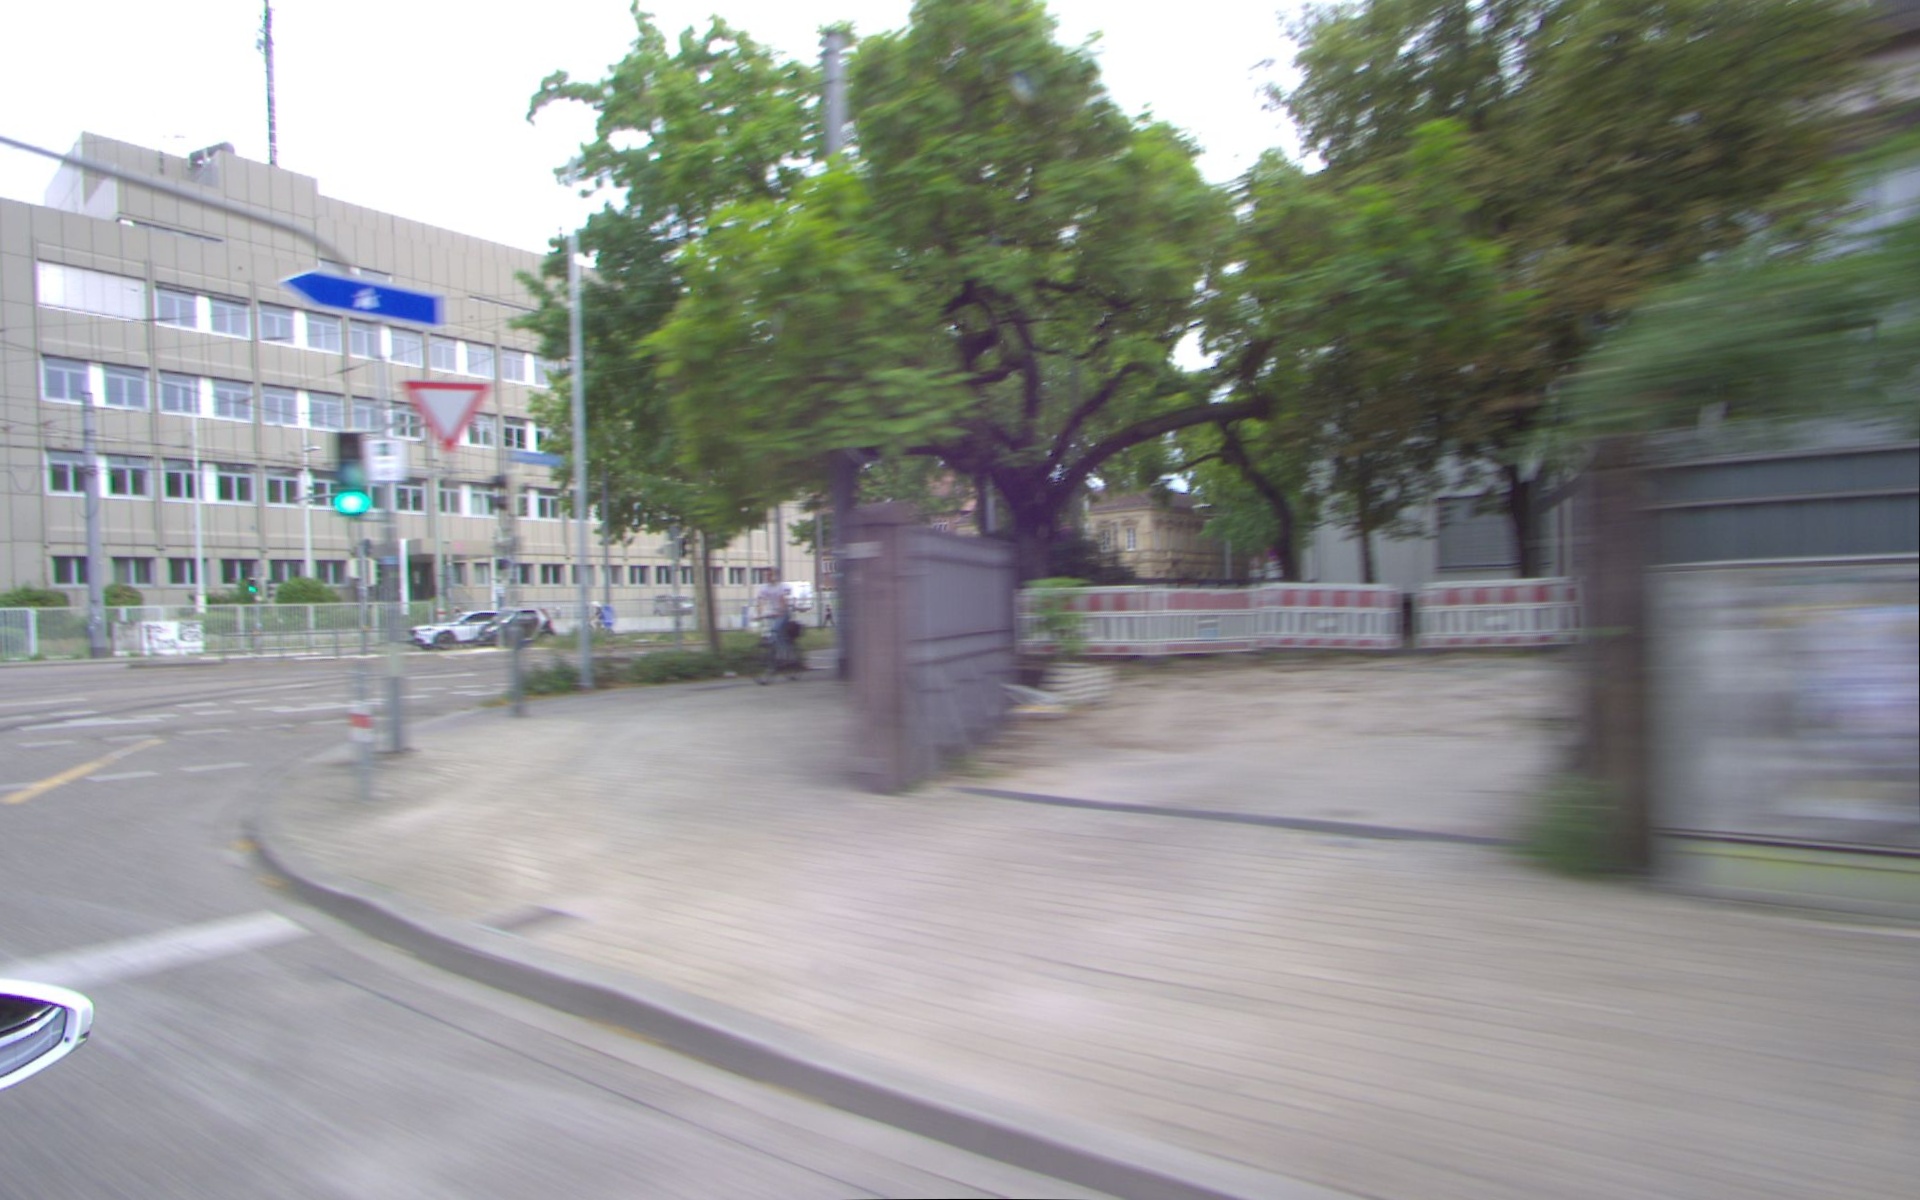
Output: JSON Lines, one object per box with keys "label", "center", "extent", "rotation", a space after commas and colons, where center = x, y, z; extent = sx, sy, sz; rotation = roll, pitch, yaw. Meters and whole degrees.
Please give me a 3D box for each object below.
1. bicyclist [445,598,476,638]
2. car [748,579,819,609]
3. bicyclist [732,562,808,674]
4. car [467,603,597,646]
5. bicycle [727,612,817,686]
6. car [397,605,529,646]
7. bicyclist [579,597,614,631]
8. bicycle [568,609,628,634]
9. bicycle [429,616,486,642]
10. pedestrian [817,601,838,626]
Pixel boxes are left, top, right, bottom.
{"label": "bicyclist", "center": [-21.569, 0.769, 43.232], "extent": [1.163, 1.724, 0.800], "rotation": [0, 0, -25]}
{"label": "car", "center": [-14.617, -0.460, 82.682], "extent": [5.824, 2.430, 2.551], "rotation": [-1, 0, 37]}
{"label": "bicyclist", "center": [-3.179, 0.290, 16.873], "extent": [0.734, 1.784, 1.251], "rotation": [-3, 1, 12]}
{"label": "car", "center": [-16.925, 0.937, 39.719], "extent": [1.818, 1.587, 4.380], "rotation": [0, 0, 44]}
{"label": "bicycle", "center": [-3.142, 0.793, 16.946], "extent": [0.737, 1.101, 2.014], "rotation": [-2, 0, 12]}
{"label": "car", "center": [-20.012, 0.991, 40.473], "extent": [1.977, 1.524, 4.384], "rotation": [0, 0, 41]}
{"label": "bicyclist", "center": [-17.079, 0.666, 47.018], "extent": [0.794, 1.570, 1.317], "rotation": [0, 1, 43]}
{"label": "bicycle", "center": [-17.002, 0.988, 47.093], "extent": [0.794, 1.101, 2.540], "rotation": [0, 0, 42]}
{"label": "bicycle", "center": [-21.640, 1.258, 43.199], "extent": [2.149, 1.101, 0.800], "rotation": [0, 0, -24]}
{"label": "pedestrian", "center": [-8.378, 0.854, 63.272], "extent": [0.970, 1.590, 0.875], "rotation": [-1, 1, -44]}
